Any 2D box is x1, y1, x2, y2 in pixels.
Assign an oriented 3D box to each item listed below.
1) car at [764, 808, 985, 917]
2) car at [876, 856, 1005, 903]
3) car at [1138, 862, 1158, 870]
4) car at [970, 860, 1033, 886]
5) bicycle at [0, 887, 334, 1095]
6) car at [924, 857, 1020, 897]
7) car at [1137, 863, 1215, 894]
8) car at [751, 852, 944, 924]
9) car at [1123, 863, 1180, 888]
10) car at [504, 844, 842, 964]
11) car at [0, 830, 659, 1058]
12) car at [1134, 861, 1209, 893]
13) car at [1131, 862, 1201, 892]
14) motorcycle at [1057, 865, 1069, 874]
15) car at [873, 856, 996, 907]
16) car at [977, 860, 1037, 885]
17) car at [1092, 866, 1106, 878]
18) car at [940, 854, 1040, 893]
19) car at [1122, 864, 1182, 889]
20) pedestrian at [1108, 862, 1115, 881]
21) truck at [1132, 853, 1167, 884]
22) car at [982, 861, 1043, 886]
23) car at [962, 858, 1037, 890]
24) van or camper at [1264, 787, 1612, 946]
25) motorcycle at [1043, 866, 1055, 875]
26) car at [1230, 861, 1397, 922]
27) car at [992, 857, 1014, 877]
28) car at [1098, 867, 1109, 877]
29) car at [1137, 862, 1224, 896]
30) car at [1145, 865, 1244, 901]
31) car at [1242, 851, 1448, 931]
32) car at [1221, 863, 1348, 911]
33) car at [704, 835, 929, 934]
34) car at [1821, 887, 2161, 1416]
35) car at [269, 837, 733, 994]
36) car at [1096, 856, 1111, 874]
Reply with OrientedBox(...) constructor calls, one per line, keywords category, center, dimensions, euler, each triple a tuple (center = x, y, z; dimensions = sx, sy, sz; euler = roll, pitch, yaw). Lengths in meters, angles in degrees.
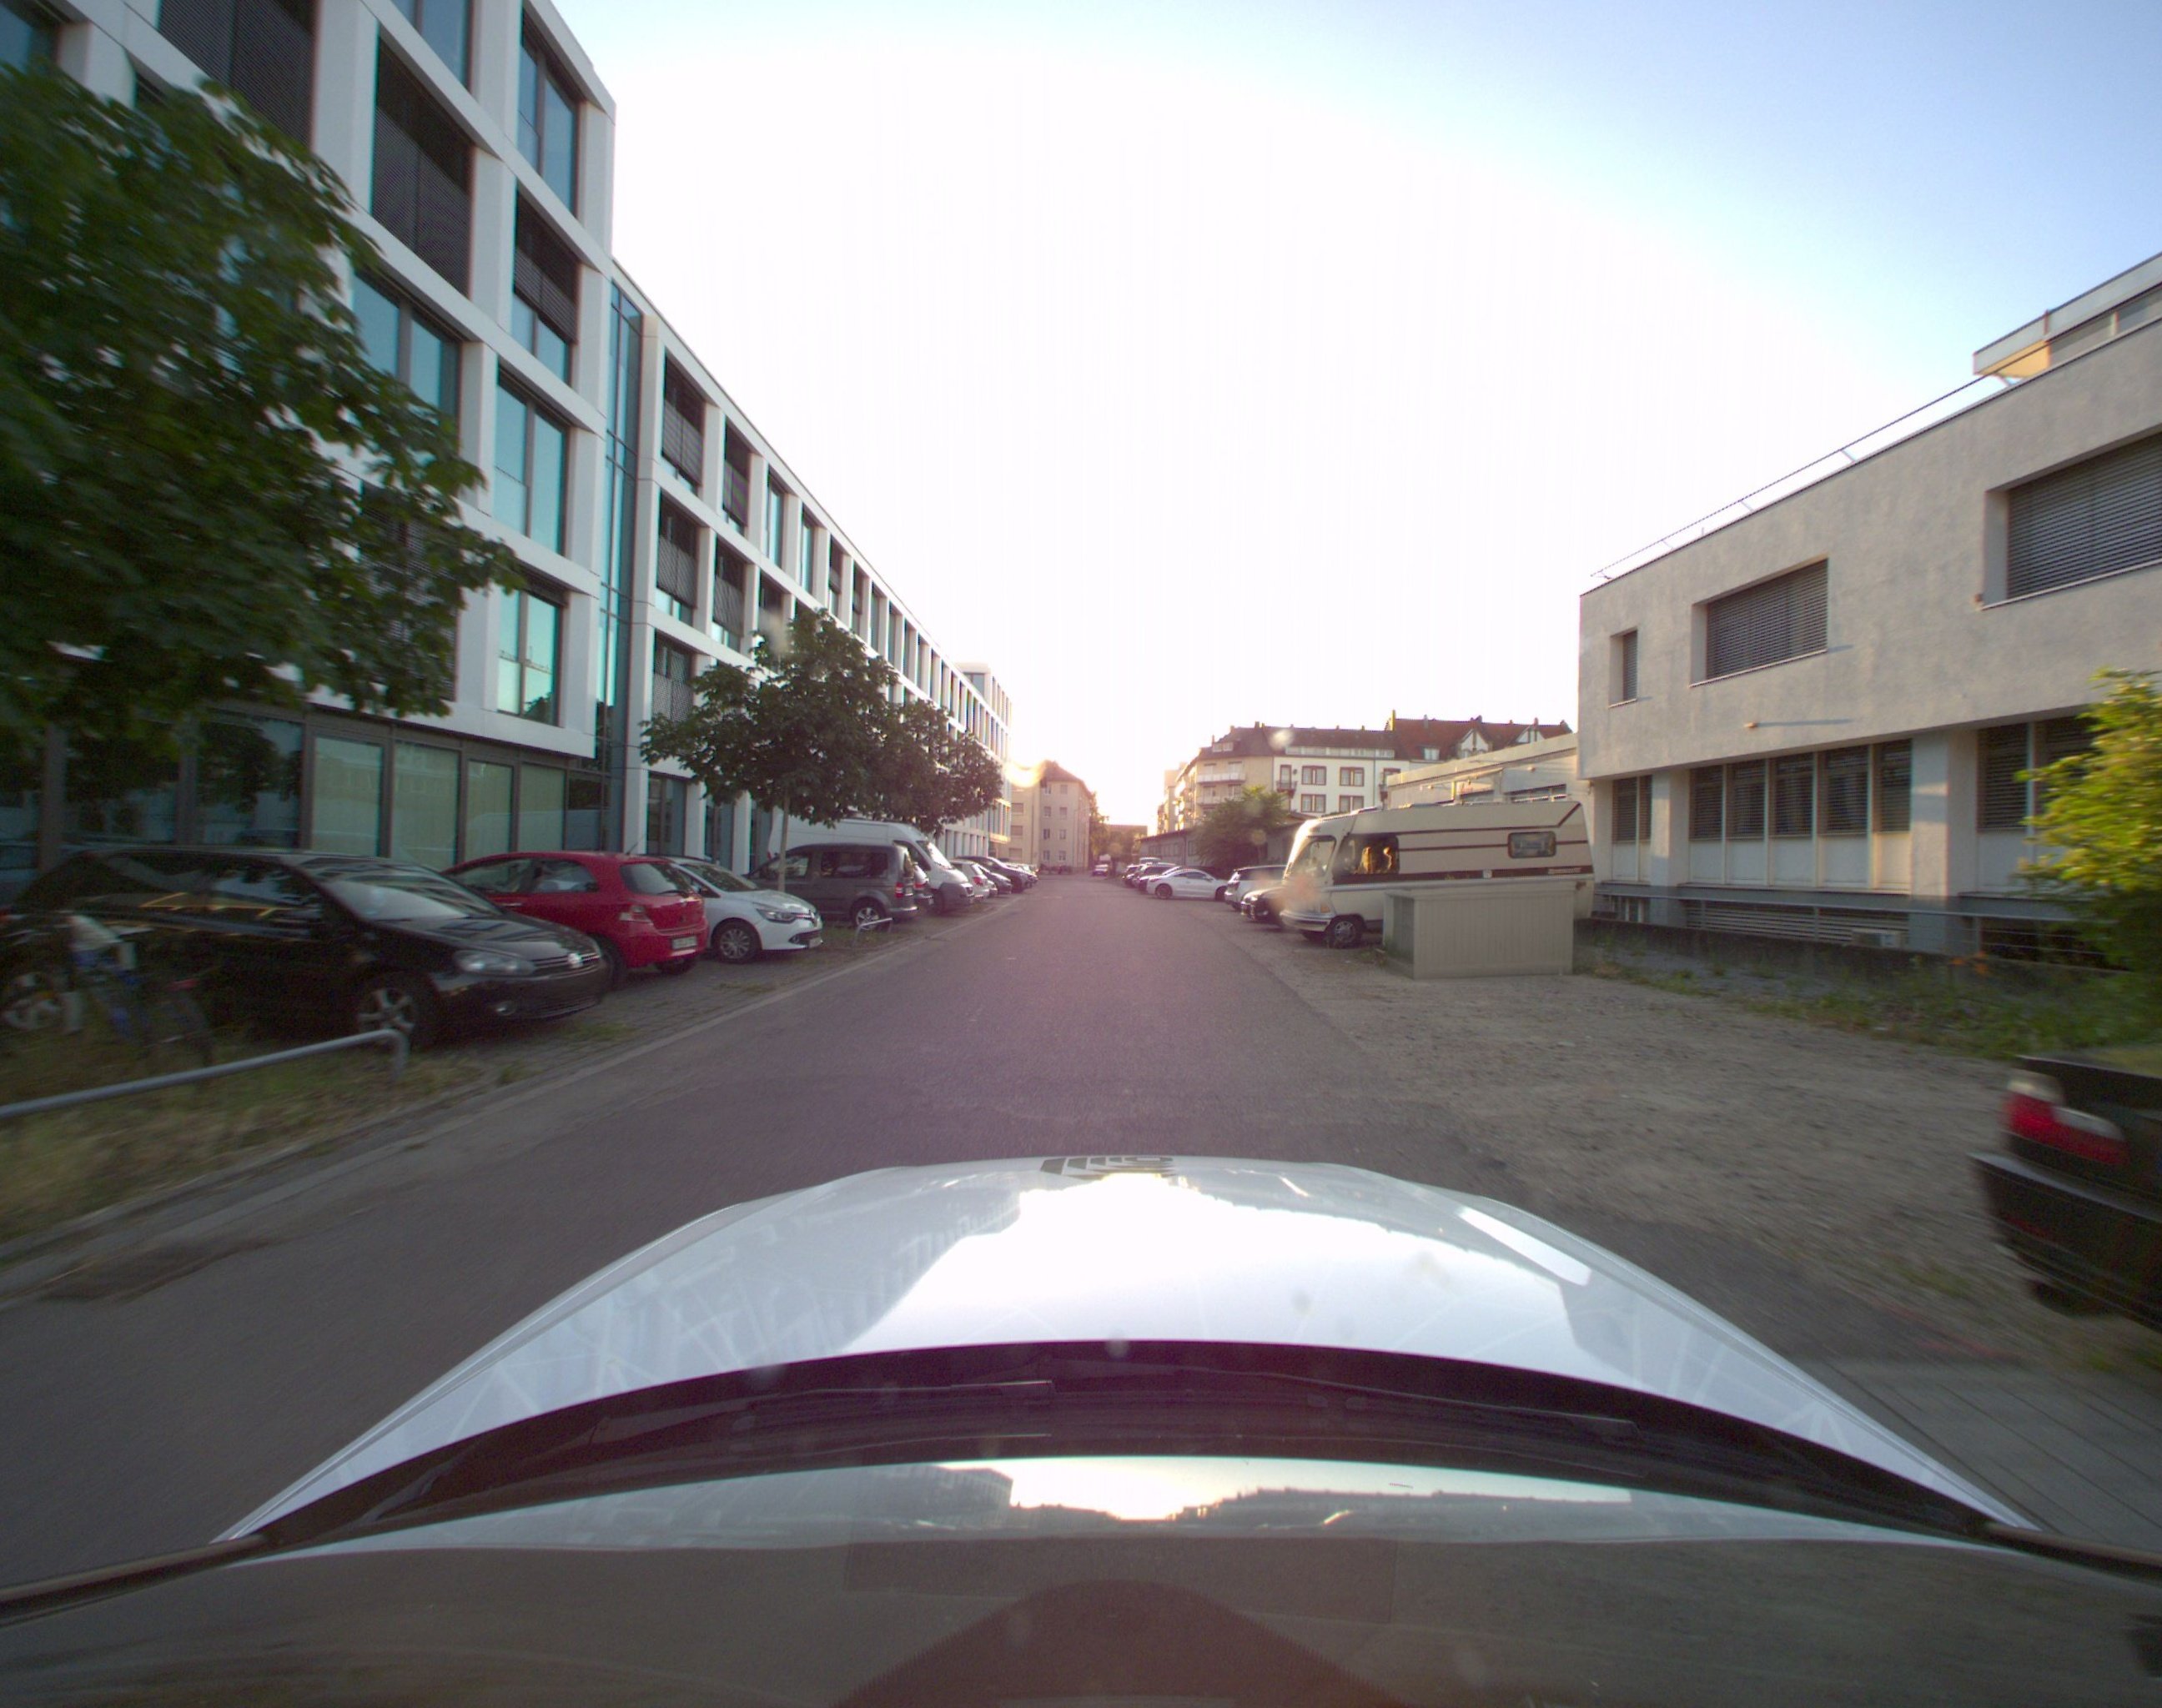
OrientedBox(category="car", center=(-5.530, 0.224, 22.326), dimensions=(5.359, 2.633, 2.079), euler=(2, -1, 2))
OrientedBox(category="car", center=(-5.093, 0.916, 29.870), dimensions=(4.290, 1.495, 1.796), euler=(2, 0, 2))
OrientedBox(category="car", center=(13.289, 2.435, 162.451), dimensions=(3.971, 1.530, 1.660), euler=(0, -1, 2))
OrientedBox(category="car", center=(-4.956, 1.175, 50.957), dimensions=(3.641, 1.511, 1.688), euler=(2, 0, 1))
OrientedBox(category="bicycle", center=(-5.551, 0.772, 4.822), dimensions=(1.689, 1.065, 0.567), euler=(2, -1, 2))
OrientedBox(category="car", center=(-4.574, 0.955, 34.478), dimensions=(3.770, 1.522, 1.693), euler=(2, 0, -1))
OrientedBox(category="car", center=(5.057, 1.307, 43.676), dimensions=(3.971, 1.445, 1.826), euler=(2, -2, 0))
OrientedBox(category="car", center=(-5.509, 0.788, 19.632), dimensions=(4.098, 1.499, 1.773), euler=(2, 0, -3))
OrientedBox(category="car", center=(4.828, 1.453, 56.223), dimensions=(3.746, 1.535, 1.892), euler=(2, 0, 1))
OrientedBox(category="car", center=(-5.955, 0.702, 12.245), dimensions=(4.094, 1.518, 1.781), euler=(2, 0, 0))
OrientedBox(category="car", center=(-6.132, 0.659, 6.862), dimensions=(4.095, 1.518, 1.844), euler=(2, 0, -1))
OrientedBox(category="car", center=(5.121, 1.285, 46.480), dimensions=(3.976, 1.619, 1.824), euler=(2, -1, -4))
OrientedBox(category="car", center=(5.064, 1.371, 48.956), dimensions=(3.973, 1.609, 1.937), euler=(2, -1, -2))
OrientedBox(category="motorcycle", center=(-2.315, 2.051, 105.416), dimensions=(0.682, 1.160, 2.046), euler=(1, -1, 27))
OrientedBox(category="car", center=(-4.821, 0.899, 27.122), dimensions=(3.694, 1.495, 1.708), euler=(2, 0, 1))
OrientedBox(category="car", center=(-4.799, 1.200, 53.259), dimensions=(3.641, 1.511, 1.688), euler=(2, 0, 1))
OrientedBox(category="car", center=(2.374, 2.378, 107.228), dimensions=(1.838, 1.473, 4.079), euler=(1, -1, 1))
OrientedBox(category="car", center=(-4.499, 0.953, 40.797), dimensions=(4.597, 1.706, 2.007), euler=(2, 0, 5))
OrientedBox(category="car", center=(4.656, 1.498, 53.784), dimensions=(3.749, 1.445, 1.844), euler=(2, -2, -2))
OrientedBox(category="pedestrian", center=(3.281, 1.846, 87.402), dimensions=(0.558, 2.014, 0.570), euler=(2, -1, -29))
OrientedBox(category="truck", center=(5.017, 1.066, 60.391), dimensions=(2.091, 2.200, 5.709), euler=(1, -1, 0))
OrientedBox(category="car", center=(-4.679, 1.345, 55.813), dimensions=(3.911, 1.511, 1.688), euler=(2, 0, 2))
OrientedBox(category="car", center=(-4.300, 1.050, 43.435), dimensions=(3.649, 1.511, 1.698), euler=(2, 0, 5))
OrientedBox(category="van or camper", center=(6.762, 0.242, 15.993), dimensions=(5.765, 2.864, 2.485), euler=(0, -1, -2))
OrientedBox(category="motorcycle", center=(-4.036, 2.065, 102.926), dimensions=(0.717, 1.079, 2.092), euler=(1, -1, 24))
OrientedBox(category="car", center=(6.201, 0.979, 21.978), dimensions=(3.997, 1.564, 1.709), euler=(0, -1, -5))
OrientedBox(category="car", center=(-8.223, 1.321, 86.093), dimensions=(1.792, 1.980, 4.687), euler=(1, 0, -1))
OrientedBox(category="car", center=(3.384, 2.622, 120.597), dimensions=(1.610, 1.473, 3.505), euler=(0, -1, 1))
OrientedBox(category="car", center=(5.004, 1.276, 41.242), dimensions=(4.187, 1.503, 1.890), euler=(2, -2, 1))
OrientedBox(category="car", center=(4.961, 1.266, 35.997), dimensions=(4.185, 1.367, 1.824), euler=(2, -1, 3))
OrientedBox(category="car", center=(5.994, 0.832, 18.942), dimensions=(4.222, 1.741, 1.969), euler=(0, -1, 3))
OrientedBox(category="car", center=(6.544, 1.043, 26.419), dimensions=(3.695, 1.479, 1.711), euler=(0, -1, -2))
OrientedBox(category="car", center=(-5.447, 0.618, 17.209), dimensions=(4.098, 1.817, 1.814), euler=(2, 0, -3))
OrientedBox(category="car", center=(4.919, 0.774, 2.161), dimensions=(4.304, 1.333, 1.894), euler=(0, -1, -3))
OrientedBox(category="car", center=(-6.613, 0.667, 9.656), dimensions=(4.094, 1.518, 1.845), euler=(2, 0, 0))
OrientedBox(category="car", center=(4.250, 2.000, 152.791), dimensions=(2.608, 3.269, 7.703), euler=(0, -1, 3))
